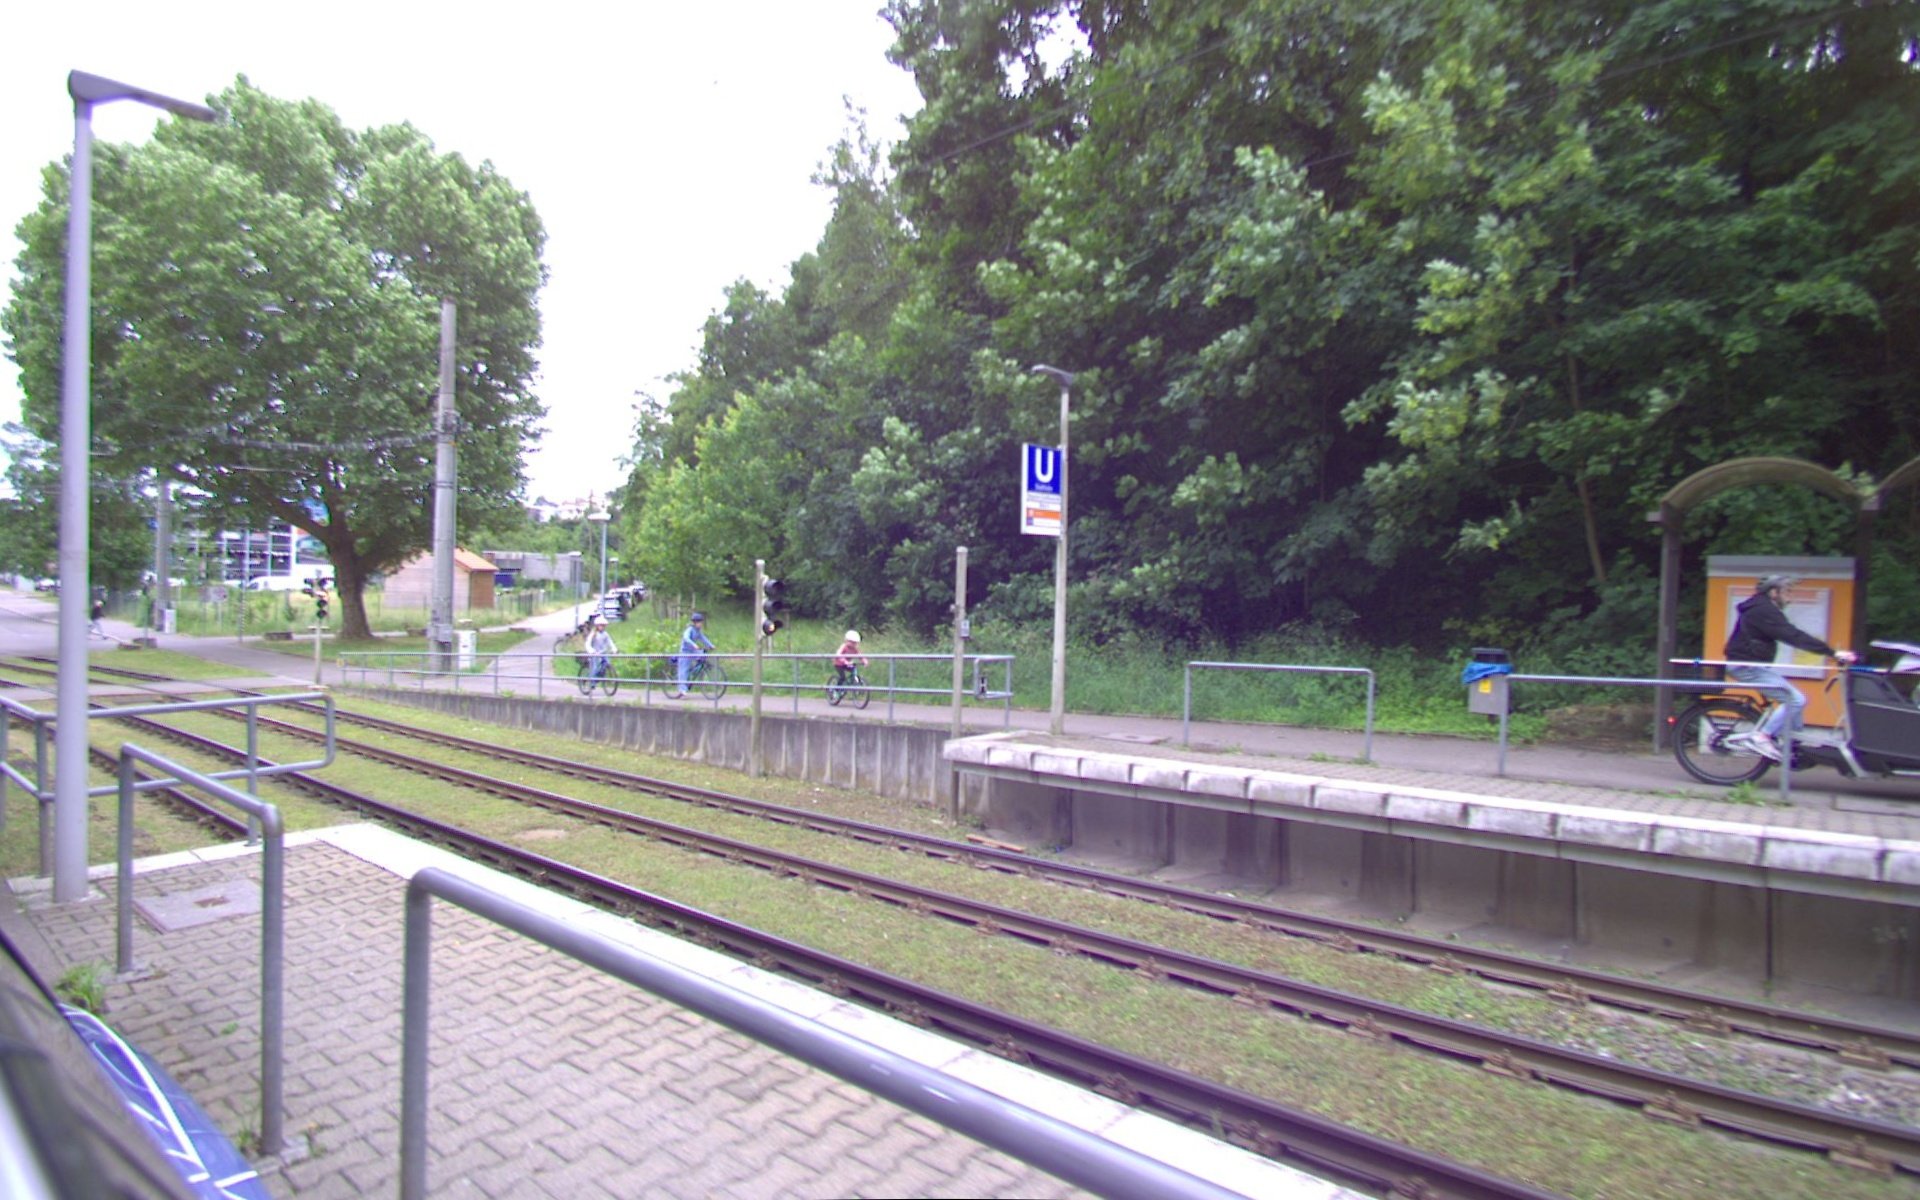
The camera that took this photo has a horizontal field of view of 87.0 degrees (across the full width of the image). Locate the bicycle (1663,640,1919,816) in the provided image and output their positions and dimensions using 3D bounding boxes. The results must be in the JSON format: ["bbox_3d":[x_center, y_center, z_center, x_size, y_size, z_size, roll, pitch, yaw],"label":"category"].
[{"bbox_3d":[7.172,0.946,7.701,0.742,1.249,2.868,-1,-1,-45],"label":"bicycle"}]

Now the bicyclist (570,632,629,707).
[{"bbox_3d":[-7.226,1.392,20.296,0.907,1.442,0.737,-4,-2,40],"label":"bicyclist"}]

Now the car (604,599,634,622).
[{"bbox_3d":[-25.224,0.755,74.980,1.966,1.696,4.012,0,0,-17],"label":"car"}]

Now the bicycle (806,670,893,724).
[{"bbox_3d":[-1.786,1.541,16.262,1.564,0.787,0.445,-3,-2,42],"label":"bicycle"}]

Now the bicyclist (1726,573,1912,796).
[{"bbox_3d":[6.819,0.629,8.047,1.033,1.641,0.696,-3,-1,45],"label":"bicyclist"}]

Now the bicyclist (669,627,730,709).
[{"bbox_3d":[-4.858,1.258,18.852,0.839,1.454,0.722,-3,-2,40],"label":"bicyclist"}]

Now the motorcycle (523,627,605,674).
[{"bbox_3d":[-14.368,1.791,36.834,1.247,1.564,3.046,-1,0,14],"label":"motorcycle"}]

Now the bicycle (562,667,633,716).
[{"bbox_3d":[-7.305,1.825,20.347,1.843,0.932,0.473,-4,-2,40],"label":"bicycle"}]

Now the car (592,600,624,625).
[{"bbox_3d":[-24.240,0.854,69.840,1.966,1.696,4.012,0,0,-17],"label":"car"}]

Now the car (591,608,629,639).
[{"bbox_3d":[-20.134,1.339,58.349,1.966,1.696,4.012,0,0,-17],"label":"car"}]

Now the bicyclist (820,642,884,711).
[{"bbox_3d":[-1.728,1.214,16.254,0.744,1.061,0.682,-3,-2,41],"label":"bicyclist"}]

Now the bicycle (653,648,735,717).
[{"bbox_3d":[-4.962,1.515,18.813,1.939,1.197,0.458,-3,-2,41],"label":"bicycle"}]

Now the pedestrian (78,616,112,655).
[{"bbox_3d":[-39.437,1.598,46.173,1.100,1.747,0.696,0,0,-34],"label":"pedestrian"}]
